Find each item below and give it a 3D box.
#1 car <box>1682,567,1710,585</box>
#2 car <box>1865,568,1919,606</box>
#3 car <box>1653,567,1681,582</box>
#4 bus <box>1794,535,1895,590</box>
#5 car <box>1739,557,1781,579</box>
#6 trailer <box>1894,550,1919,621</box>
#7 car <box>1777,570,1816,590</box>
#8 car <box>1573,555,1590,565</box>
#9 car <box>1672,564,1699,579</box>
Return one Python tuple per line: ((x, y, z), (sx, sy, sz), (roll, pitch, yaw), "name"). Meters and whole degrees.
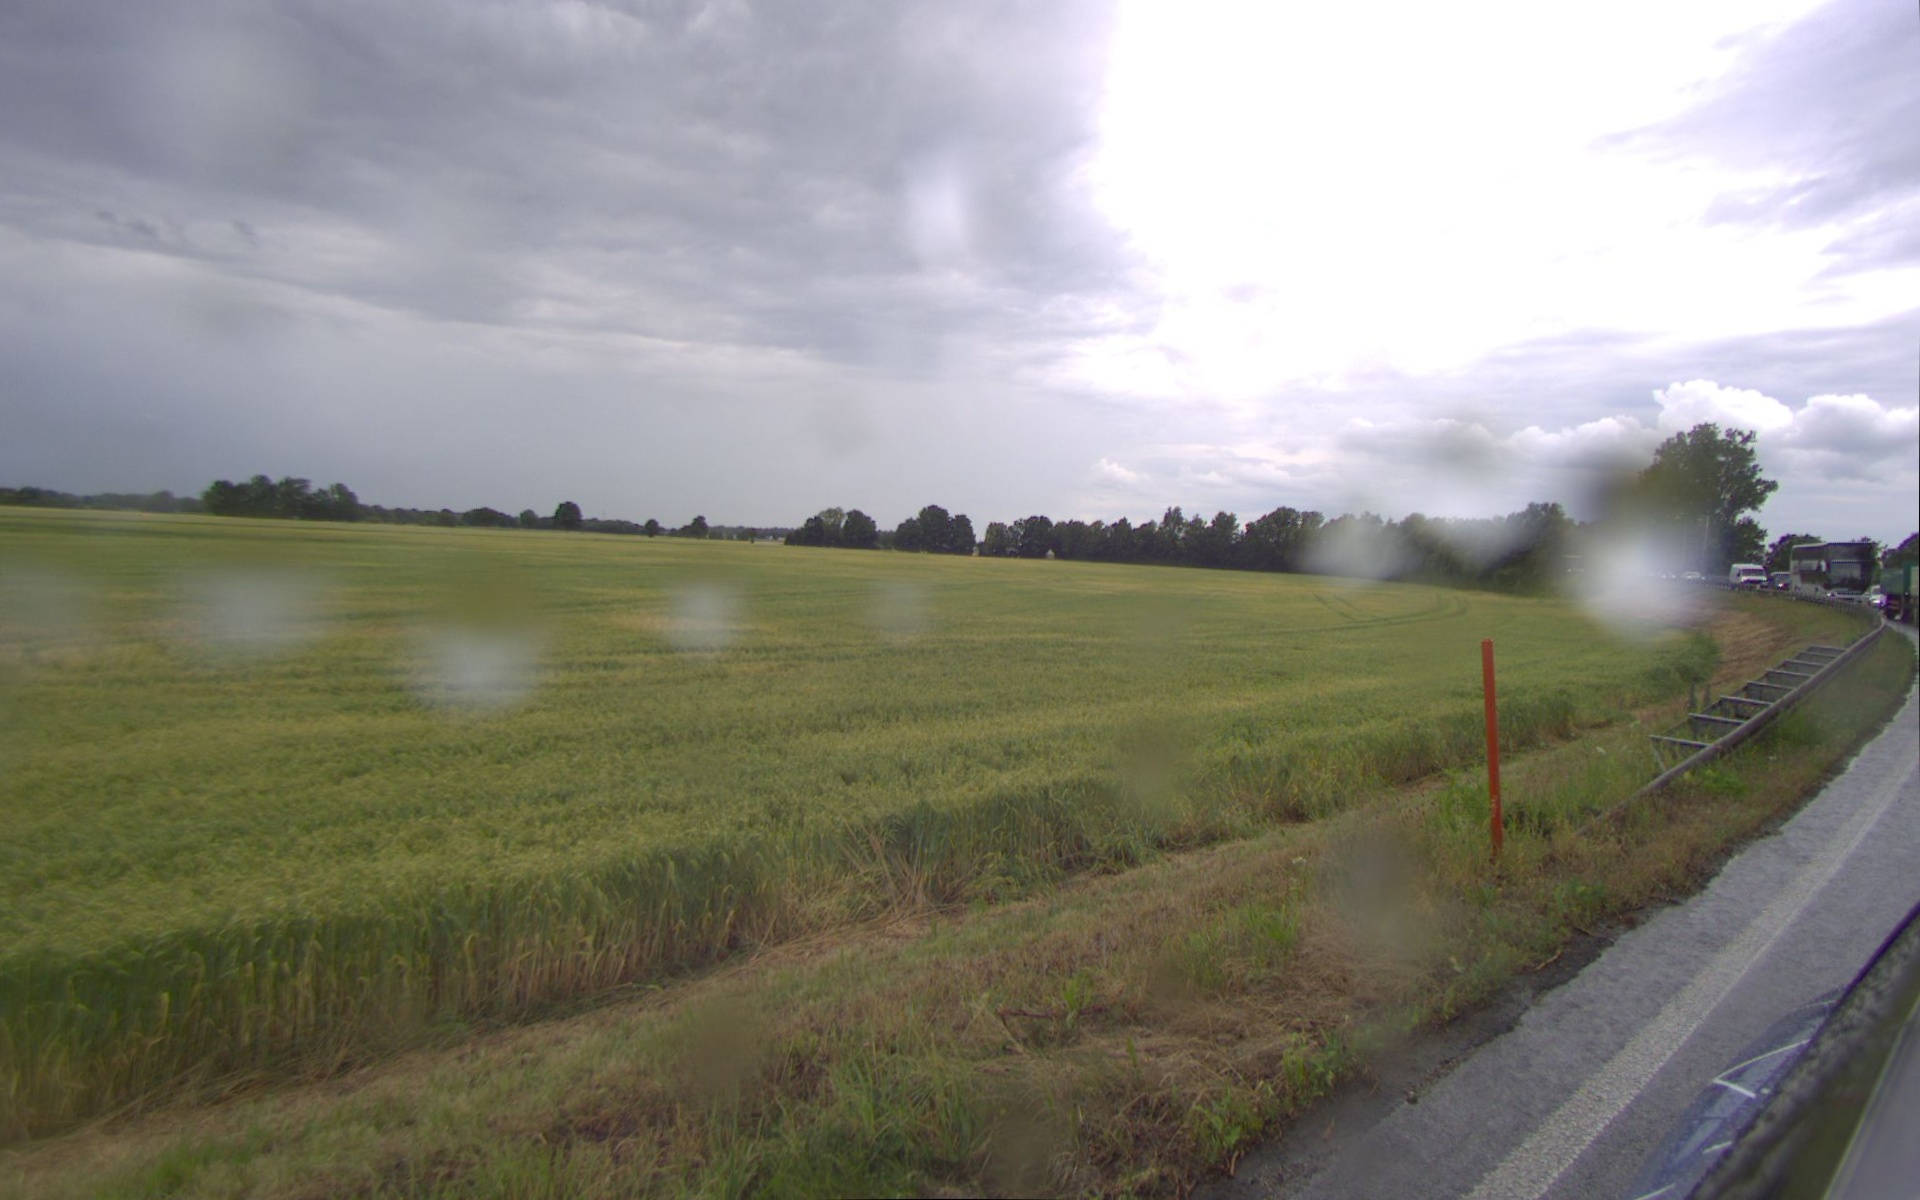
((88.656, -2.882, 121.930), (1.980, 2.038, 4.195), (0, 1, 26), "car")
((48.885, -0.730, 52.663), (2.030, 1.865, 5.269), (0, 2, 35), "car")
((93.701, -3.378, 134.167), (1.975, 2.038, 4.238), (0, 1, 20), "car")
((59.842, -2.582, 68.871), (2.943, 3.353, 14.671), (0, 2, 32), "bus")
((76.872, -3.074, 97.345), (1.979, 2.038, 5.291), (0, 1, 25), "car")
((39.291, -0.601, 39.608), (2.971, 2.665, 15.464), (1, 2, 39), "trailer")
((68.168, -1.656, 82.502), (1.800, 1.597, 3.958), (0, 2, 30), "car")
((117.547, -7.540, 191.416), (1.759, 1.953, 4.155), (0, 1, 18), "car")
((103.659, -4.035, 144.630), (1.974, 2.038, 4.178), (0, 1, 19), "car")
